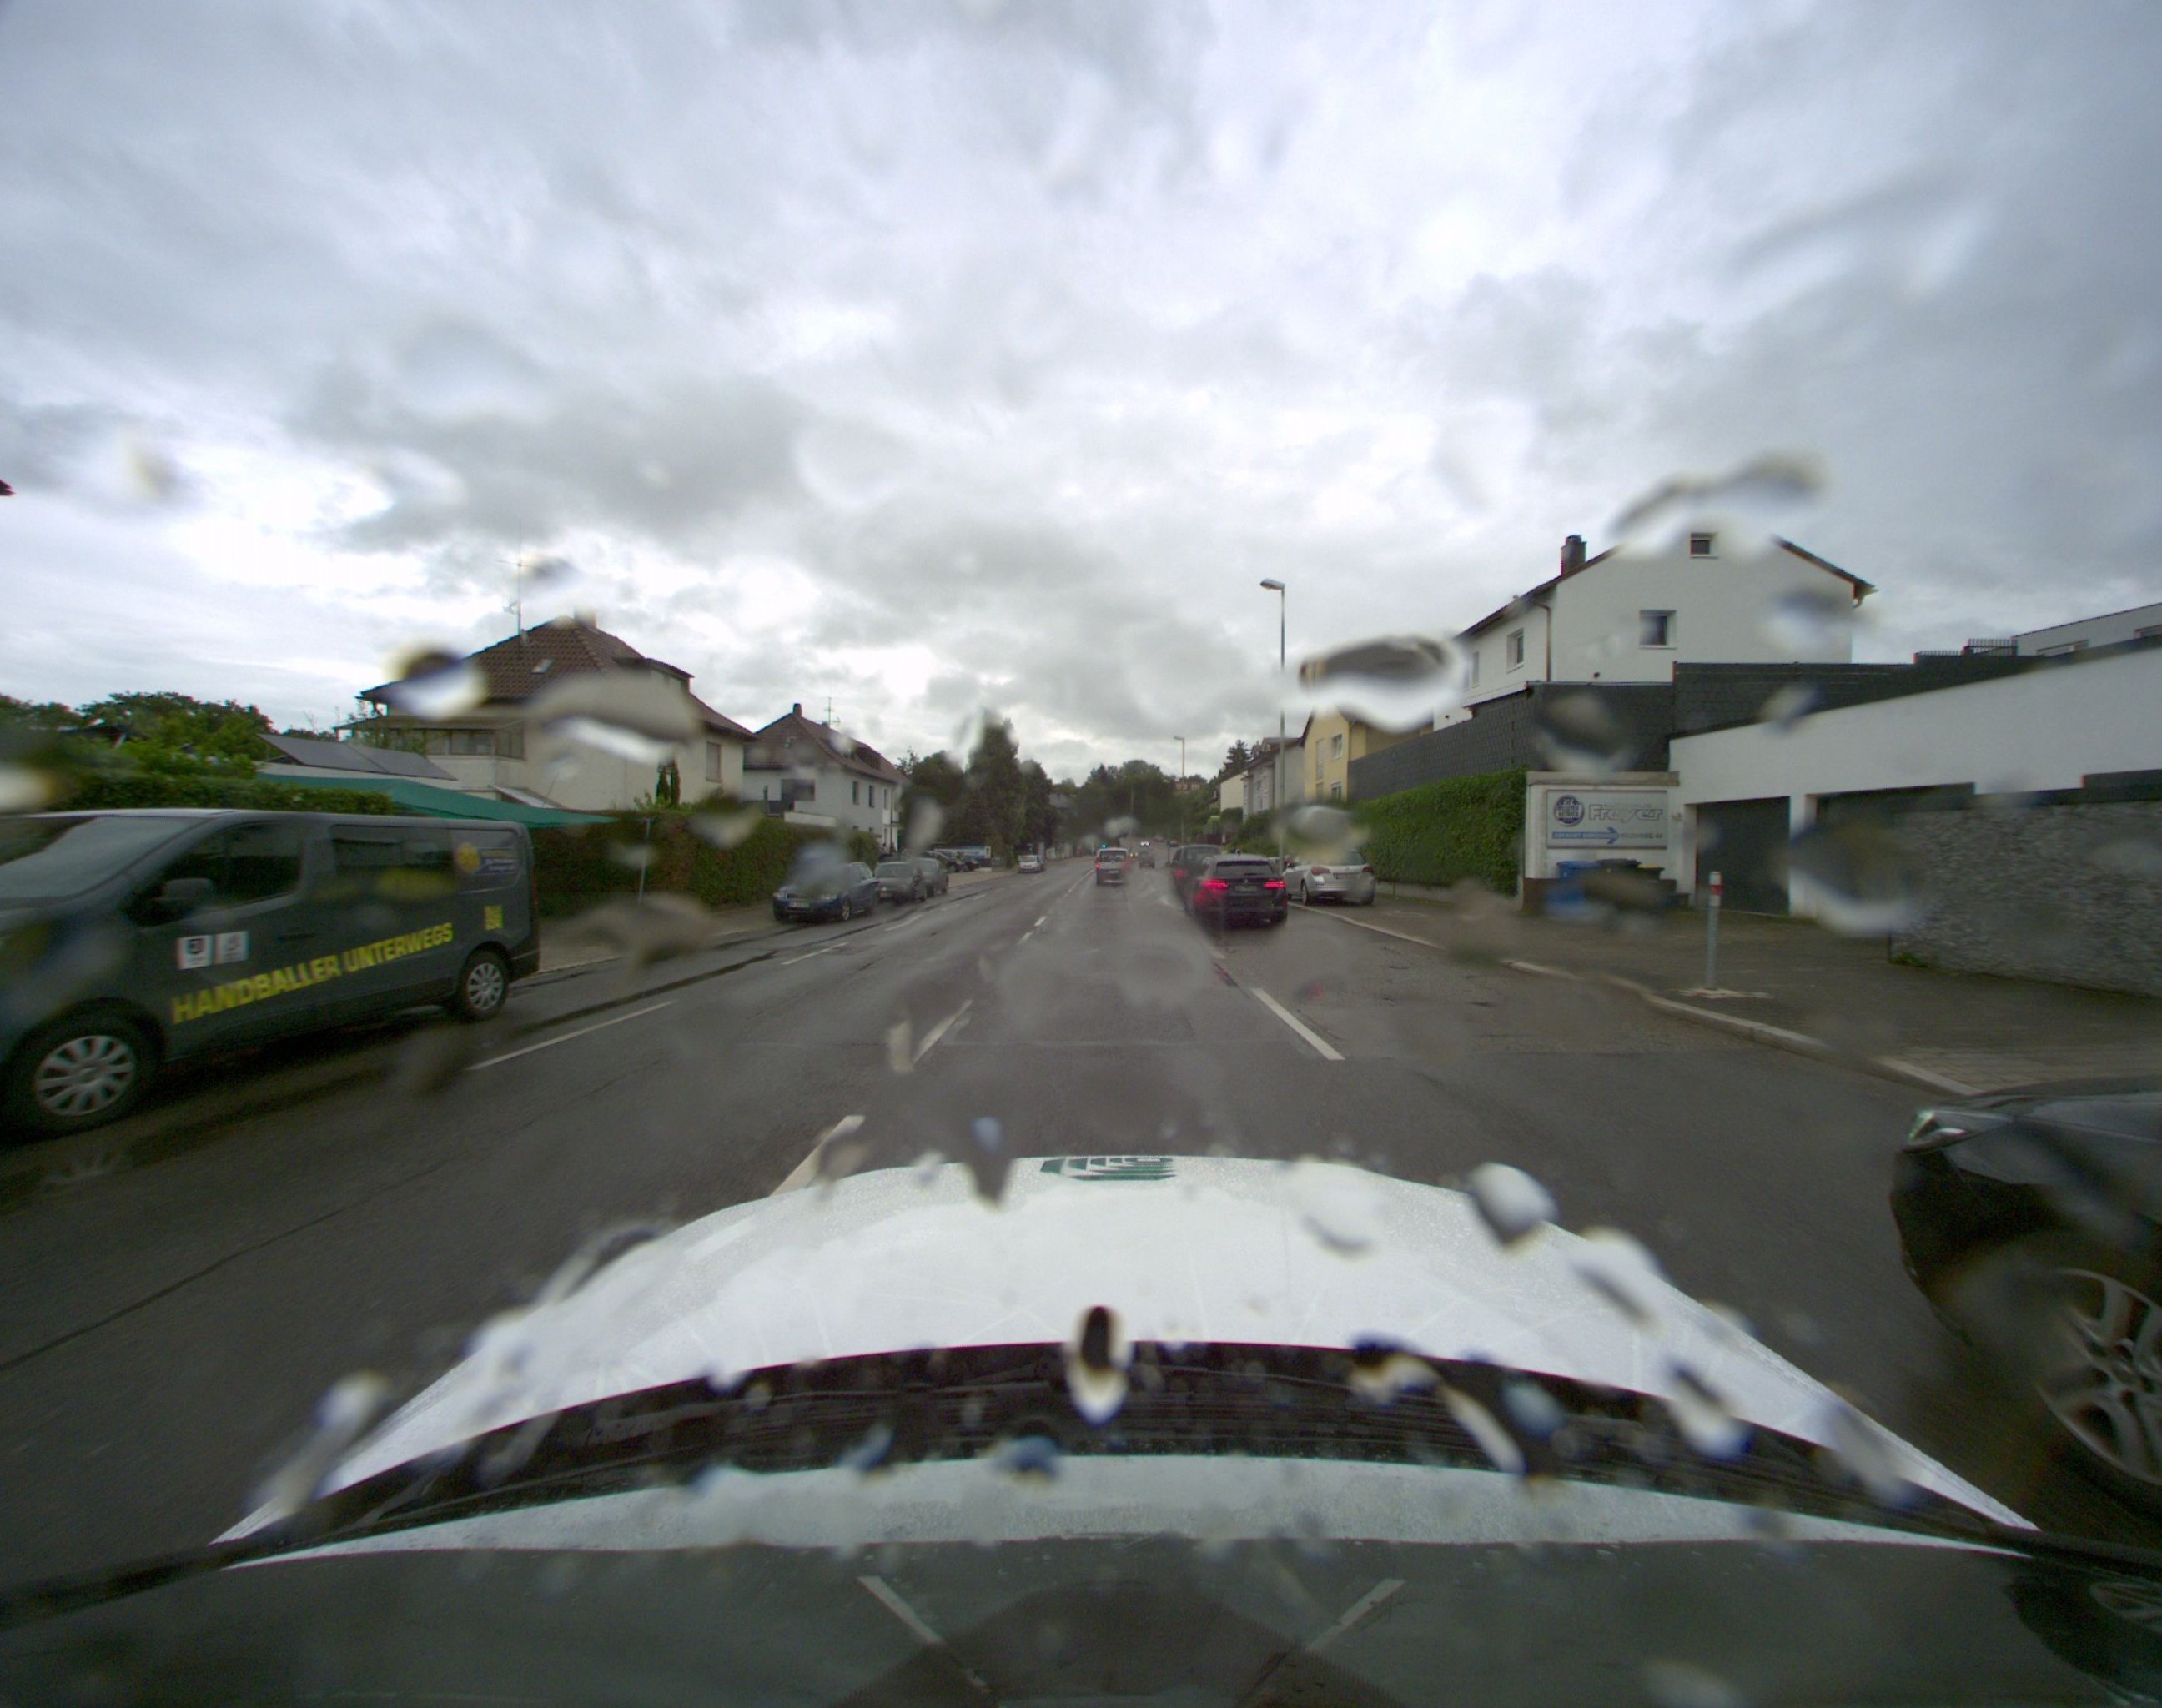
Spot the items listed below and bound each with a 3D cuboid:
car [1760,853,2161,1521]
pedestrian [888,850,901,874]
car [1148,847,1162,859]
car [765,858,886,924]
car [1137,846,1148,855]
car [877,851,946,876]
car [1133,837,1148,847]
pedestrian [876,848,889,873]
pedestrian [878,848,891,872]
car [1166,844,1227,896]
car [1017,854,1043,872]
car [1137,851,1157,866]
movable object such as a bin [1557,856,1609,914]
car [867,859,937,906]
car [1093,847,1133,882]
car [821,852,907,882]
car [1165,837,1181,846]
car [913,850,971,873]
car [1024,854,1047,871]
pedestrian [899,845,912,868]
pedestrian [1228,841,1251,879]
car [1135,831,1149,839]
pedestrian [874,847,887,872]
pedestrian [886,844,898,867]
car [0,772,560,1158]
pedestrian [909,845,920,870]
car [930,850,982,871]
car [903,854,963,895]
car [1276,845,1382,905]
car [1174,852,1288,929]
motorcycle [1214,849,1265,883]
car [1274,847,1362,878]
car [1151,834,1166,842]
[{"bbox_3d":[3.180,0.716,0.834,1.749,1.449,4.002,0,0,2],"label":"car"},{"bbox_3d":[-13.008,0.543,56.850,0.597,1.665,0.651,3,0,7],"label":"pedestrian"},{"bbox_3d":[14.379,-0.267,158.657,2.511,2.013,5.615,0,3,3],"label":"car"},{"bbox_3d":[-6.560,0.891,21.436,1.751,1.532,4.287,0,0,1],"label":"car"},{"bbox_3d":[12.623,-0.746,167.475,1.986,1.772,4.002,-2,0,2],"label":"car"},{"bbox_3d":[-11.001,0.609,53.098,4.057,1.516,1.856,1,0,1],"label":"car"},{"bbox_3d":[14.299,-2.853,195.247,2.518,2.013,5.598,0,3,-6],"label":"car"},{"bbox_3d":[-13.452,0.428,55.293,0.597,1.665,0.651,3,0,7],"label":"pedestrian"},{"bbox_3d":[-13.900,0.402,57.653,0.597,1.665,0.651,3,0,7],"label":"pedestrian"},{"bbox_3d":[4.123,0.559,29.587,1.831,1.767,4.002,0,0,2],"label":"car"},{"bbox_3d":[-4.618,0.812,74.108,1.877,1.585,4.002,0,0,2],"label":"car"},{"bbox_3d":[7.444,0.501,92.266,1.986,1.578,4.002,-2,0,2],"label":"car"},{"bbox_3d":[10.037,0.606,16.303,0.593,1.105,0.667,-3,0,1],"label":"movable object such as a bin"},{"bbox_3d":[-5.956,0.901,27.455,1.546,1.431,4.012,0,0,-1],"label":"car"},{"bbox_3d":[1.708,0.555,42.780,1.986,1.737,4.002,0,0,2],"label":"car"},{"bbox_3d":[-11.412,0.664,43.003,3.972,1.516,1.856,1,0,1],"label":"car"},{"bbox_3d":[21.705,-2.943,191.954,2.518,2.013,5.598,0,3,-6],"label":"car"},{"bbox_3d":[-10.747,0.548,63.063,4.058,1.516,1.856,3,0,1],"label":"car"},{"bbox_3d":[-4.451,0.839,80.792,1.877,1.585,4.002,0,0,2],"label":"car"},{"bbox_3d":[-12.773,0.173,59.295,0.597,1.665,0.652,3,0,10],"label":"pedestrian"},{"bbox_3d":[6.974,0.247,35.821,0.822,1.649,0.626,-1,-1,36],"label":"pedestrian"},{"bbox_3d":[16.955,-5.409,227.377,2.521,2.013,5.593,0,4,-9],"label":"car"},{"bbox_3d":[-13.904,0.397,56.382,0.597,1.665,0.651,3,0,7],"label":"pedestrian"},{"bbox_3d":[-13.847,0.118,59.599,0.597,1.665,0.651,3,0,7],"label":"pedestrian"},{"bbox_3d":[-6.576,0.588,6.243,1.907,2.003,5.086,0,0,0],"label":"car"},{"bbox_3d":[-12.043,0.274,58.833,0.599,1.791,0.649,3,0,-4],"label":"pedestrian"},{"bbox_3d":[-10.714,0.584,70.119,4.058,1.516,1.856,3,0,1],"label":"car"},{"bbox_3d":[-5.939,0.797,33.110,1.752,1.532,4.206,0,0,-1],"label":"car"},{"bbox_3d":[6.719,0.533,22.566,1.694,1.510,4.536,0,0,2],"label":"car"},{"bbox_3d":[3.132,0.718,17.818,1.985,1.484,4.004,0,0,3],"label":"car"},{"bbox_3d":[6.977,0.518,35.837,2.062,1.450,0.764,-1,-1,36],"label":"motorcycle"},{"bbox_3d":[12.073,0.446,41.677,3.974,1.433,1.869,-1,0,0],"label":"car"},{"bbox_3d":[20.109,-4.182,211.335,2.521,2.013,5.591,0,3,-10],"label":"car"}]
